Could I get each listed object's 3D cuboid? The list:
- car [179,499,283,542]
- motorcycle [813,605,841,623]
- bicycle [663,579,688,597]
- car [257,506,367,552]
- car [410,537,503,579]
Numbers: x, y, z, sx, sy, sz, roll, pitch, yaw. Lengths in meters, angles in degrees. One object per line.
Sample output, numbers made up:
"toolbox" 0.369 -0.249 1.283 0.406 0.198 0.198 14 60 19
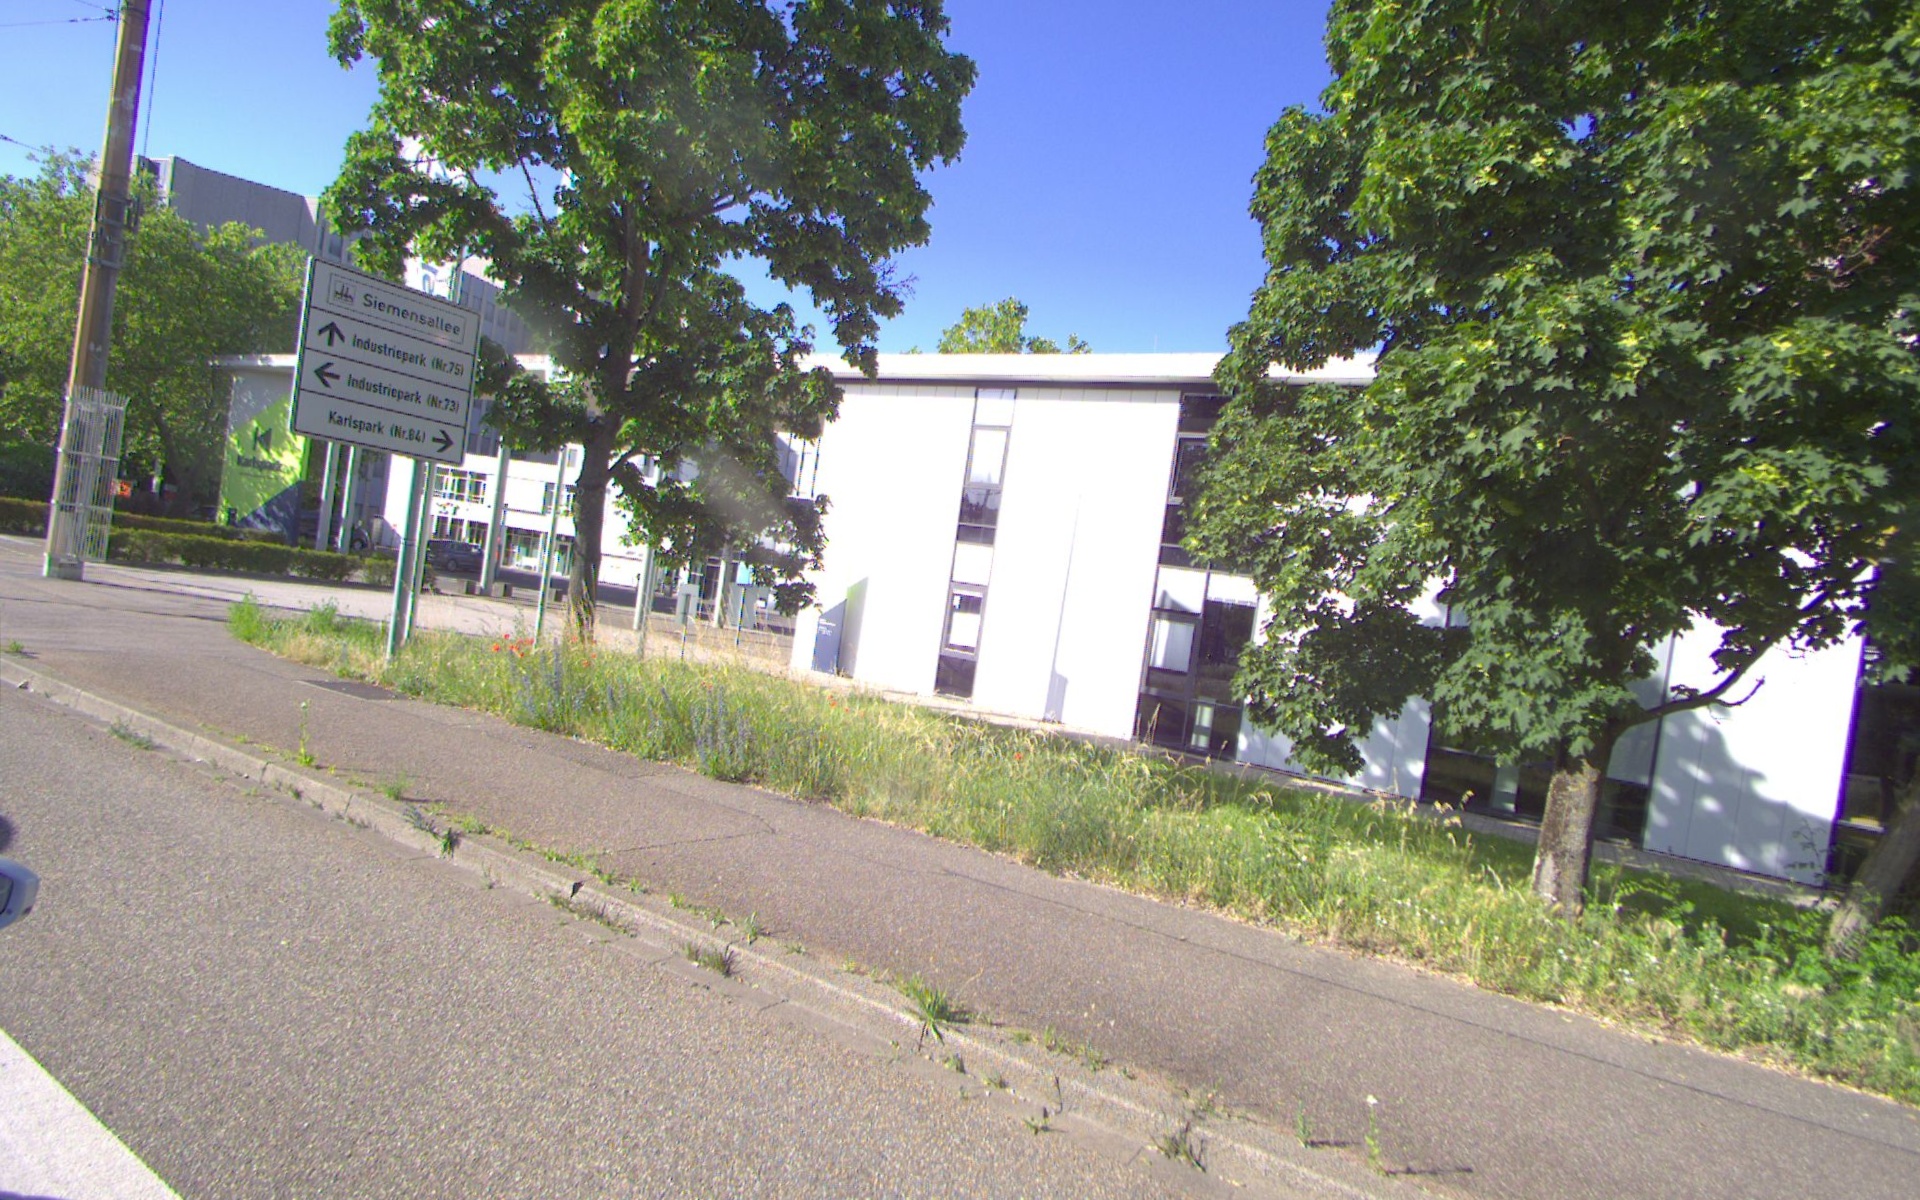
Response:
"car" -42.650 -4.634 58.959 1.861 1.706 4.468 8 -1 26
"motorcycle" -8.971 0.924 67.852 1.701 0.959 0.653 8 0 17
"bicycle" -20.256 -0.857 71.663 1.591 1.016 0.566 8 0 17
"car" -36.275 -3.948 56.501 2.052 1.778 4.900 8 -1 17
"car" -26.673 -2.205 53.445 1.918 1.597 4.000 8 -1 23
